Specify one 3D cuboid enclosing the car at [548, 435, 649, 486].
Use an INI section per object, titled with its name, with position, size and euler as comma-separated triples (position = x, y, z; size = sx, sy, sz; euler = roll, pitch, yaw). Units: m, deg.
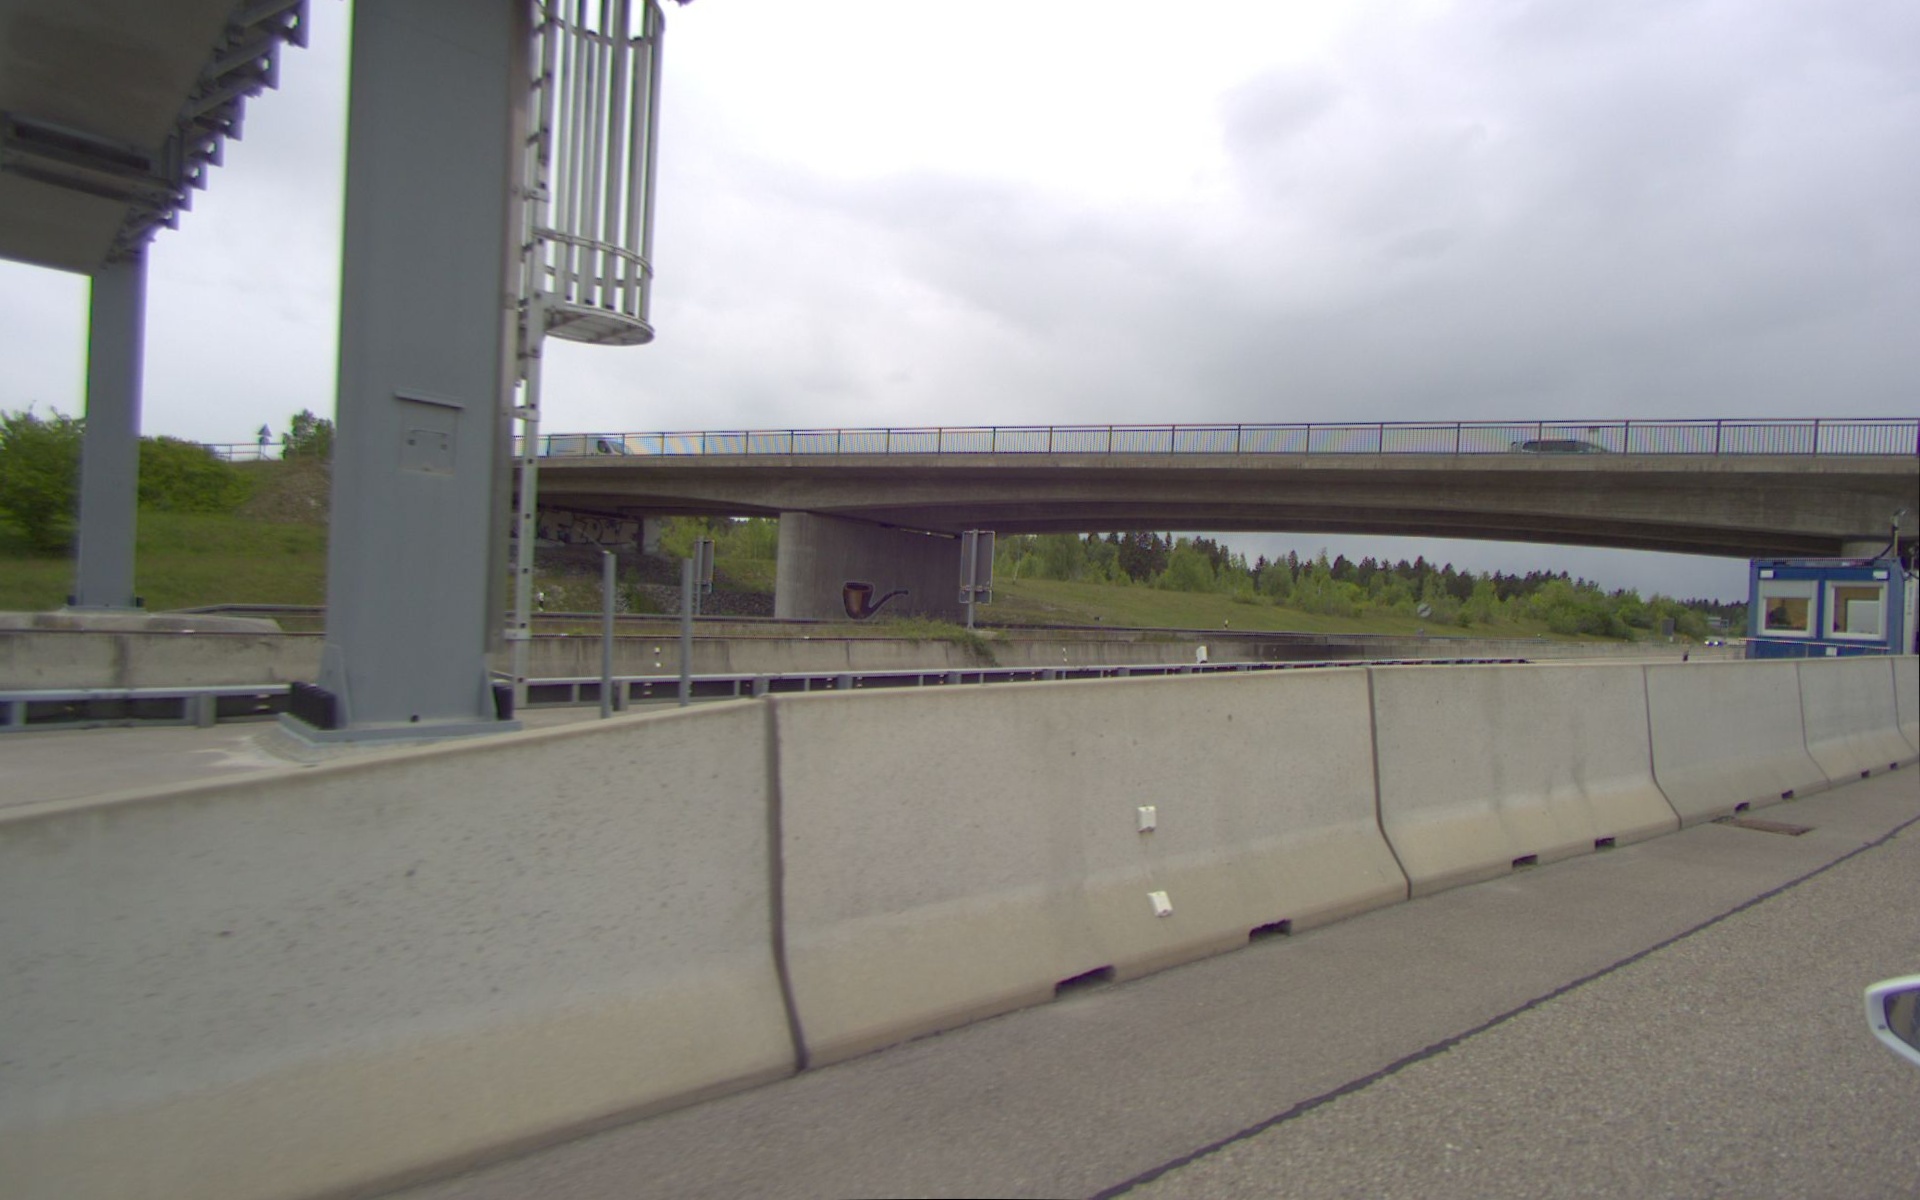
[car]
position = -20.801, -7.964, 57.704
size = 5.643, 2.281, 1.999
euler = -1, -2, 24
